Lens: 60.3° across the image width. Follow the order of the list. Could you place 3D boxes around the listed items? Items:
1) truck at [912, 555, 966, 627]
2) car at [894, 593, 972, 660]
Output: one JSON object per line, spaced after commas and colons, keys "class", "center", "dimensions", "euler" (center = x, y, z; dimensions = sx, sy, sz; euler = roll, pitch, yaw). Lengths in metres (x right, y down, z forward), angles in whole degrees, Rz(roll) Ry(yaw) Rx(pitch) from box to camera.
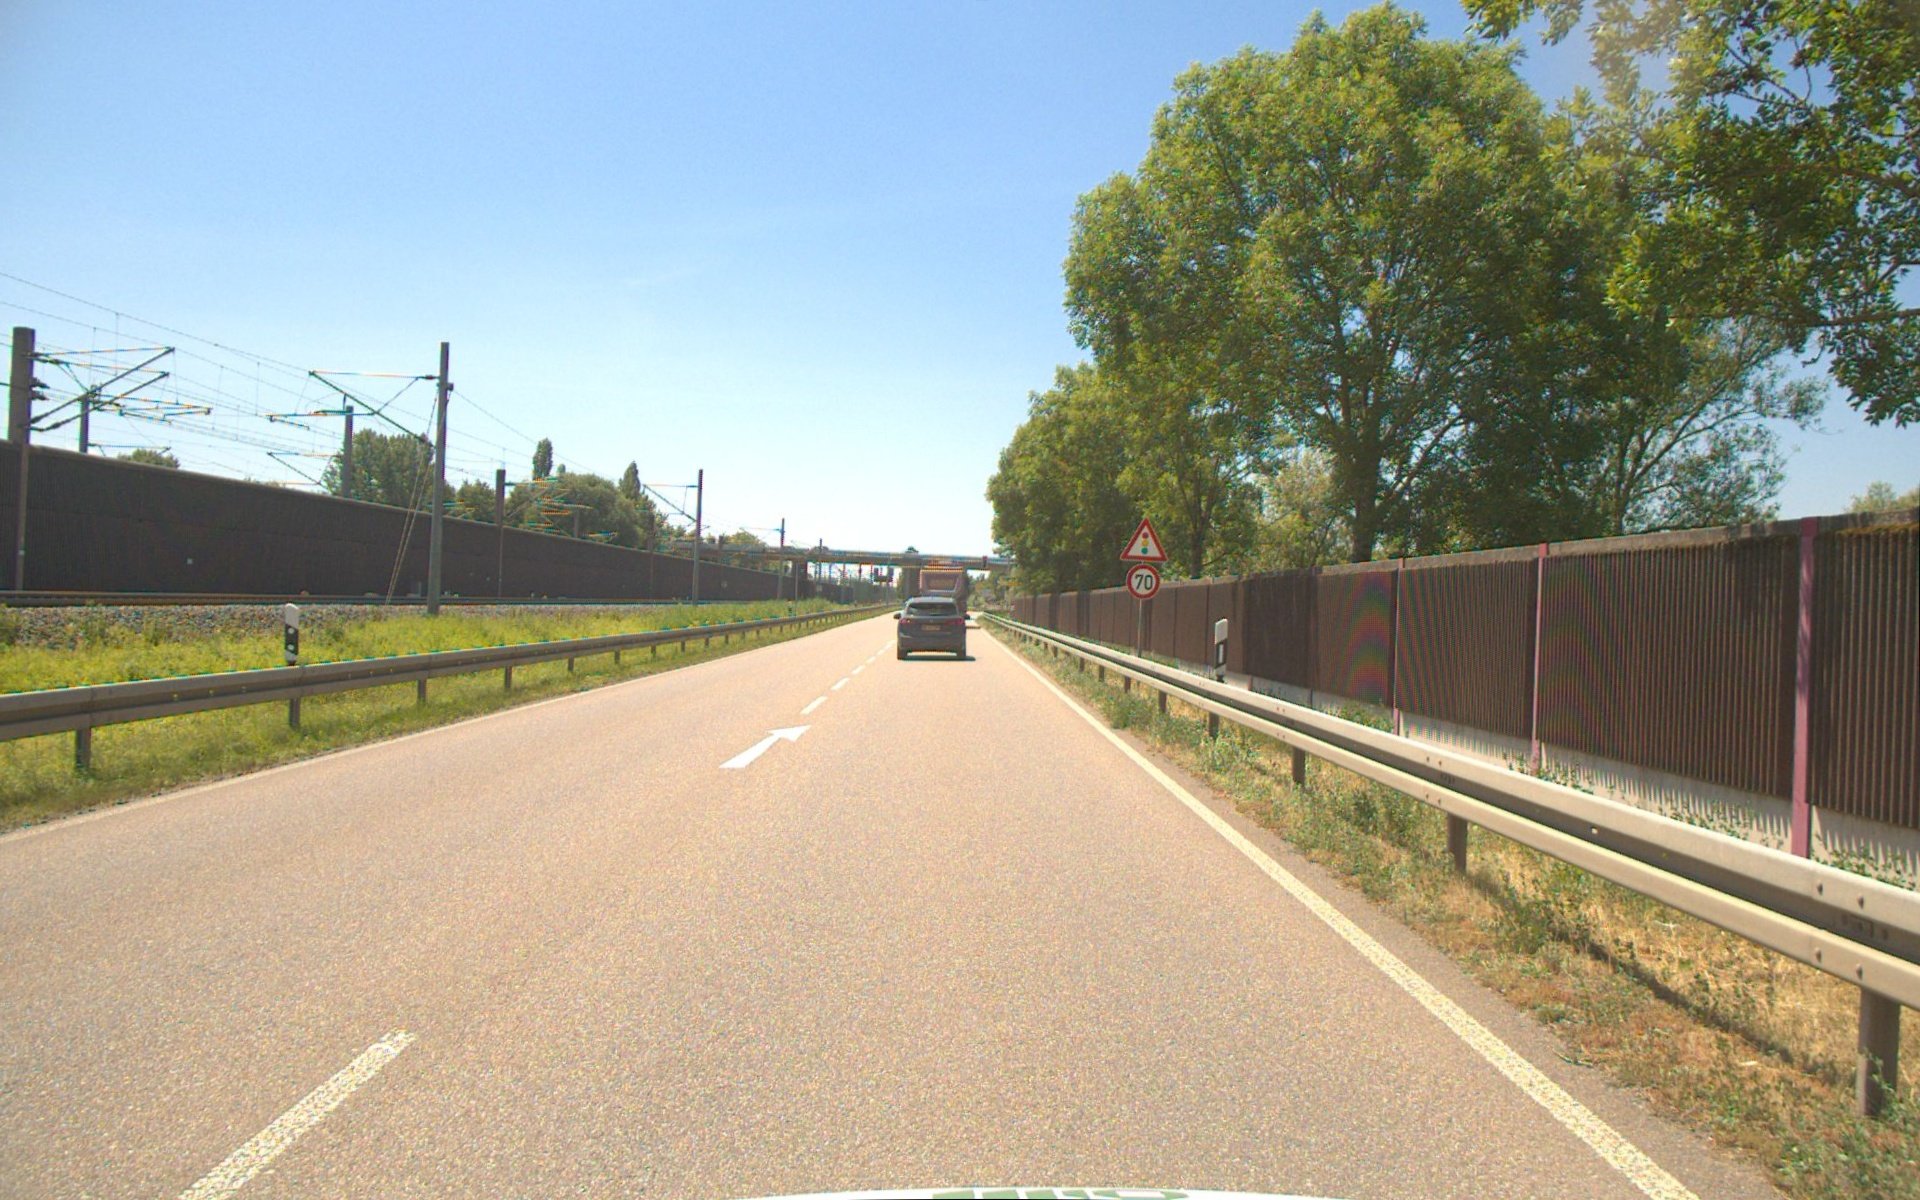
{"class": "truck", "center": [-1.104, -0.460, 96.013], "dimensions": [2.775, 3.888, 11.885], "euler": [1, 0, 1]}
{"class": "car", "center": [-0.656, 0.664, 43.289], "dimensions": [1.806, 1.651, 4.227], "euler": [1, 0, 2]}
